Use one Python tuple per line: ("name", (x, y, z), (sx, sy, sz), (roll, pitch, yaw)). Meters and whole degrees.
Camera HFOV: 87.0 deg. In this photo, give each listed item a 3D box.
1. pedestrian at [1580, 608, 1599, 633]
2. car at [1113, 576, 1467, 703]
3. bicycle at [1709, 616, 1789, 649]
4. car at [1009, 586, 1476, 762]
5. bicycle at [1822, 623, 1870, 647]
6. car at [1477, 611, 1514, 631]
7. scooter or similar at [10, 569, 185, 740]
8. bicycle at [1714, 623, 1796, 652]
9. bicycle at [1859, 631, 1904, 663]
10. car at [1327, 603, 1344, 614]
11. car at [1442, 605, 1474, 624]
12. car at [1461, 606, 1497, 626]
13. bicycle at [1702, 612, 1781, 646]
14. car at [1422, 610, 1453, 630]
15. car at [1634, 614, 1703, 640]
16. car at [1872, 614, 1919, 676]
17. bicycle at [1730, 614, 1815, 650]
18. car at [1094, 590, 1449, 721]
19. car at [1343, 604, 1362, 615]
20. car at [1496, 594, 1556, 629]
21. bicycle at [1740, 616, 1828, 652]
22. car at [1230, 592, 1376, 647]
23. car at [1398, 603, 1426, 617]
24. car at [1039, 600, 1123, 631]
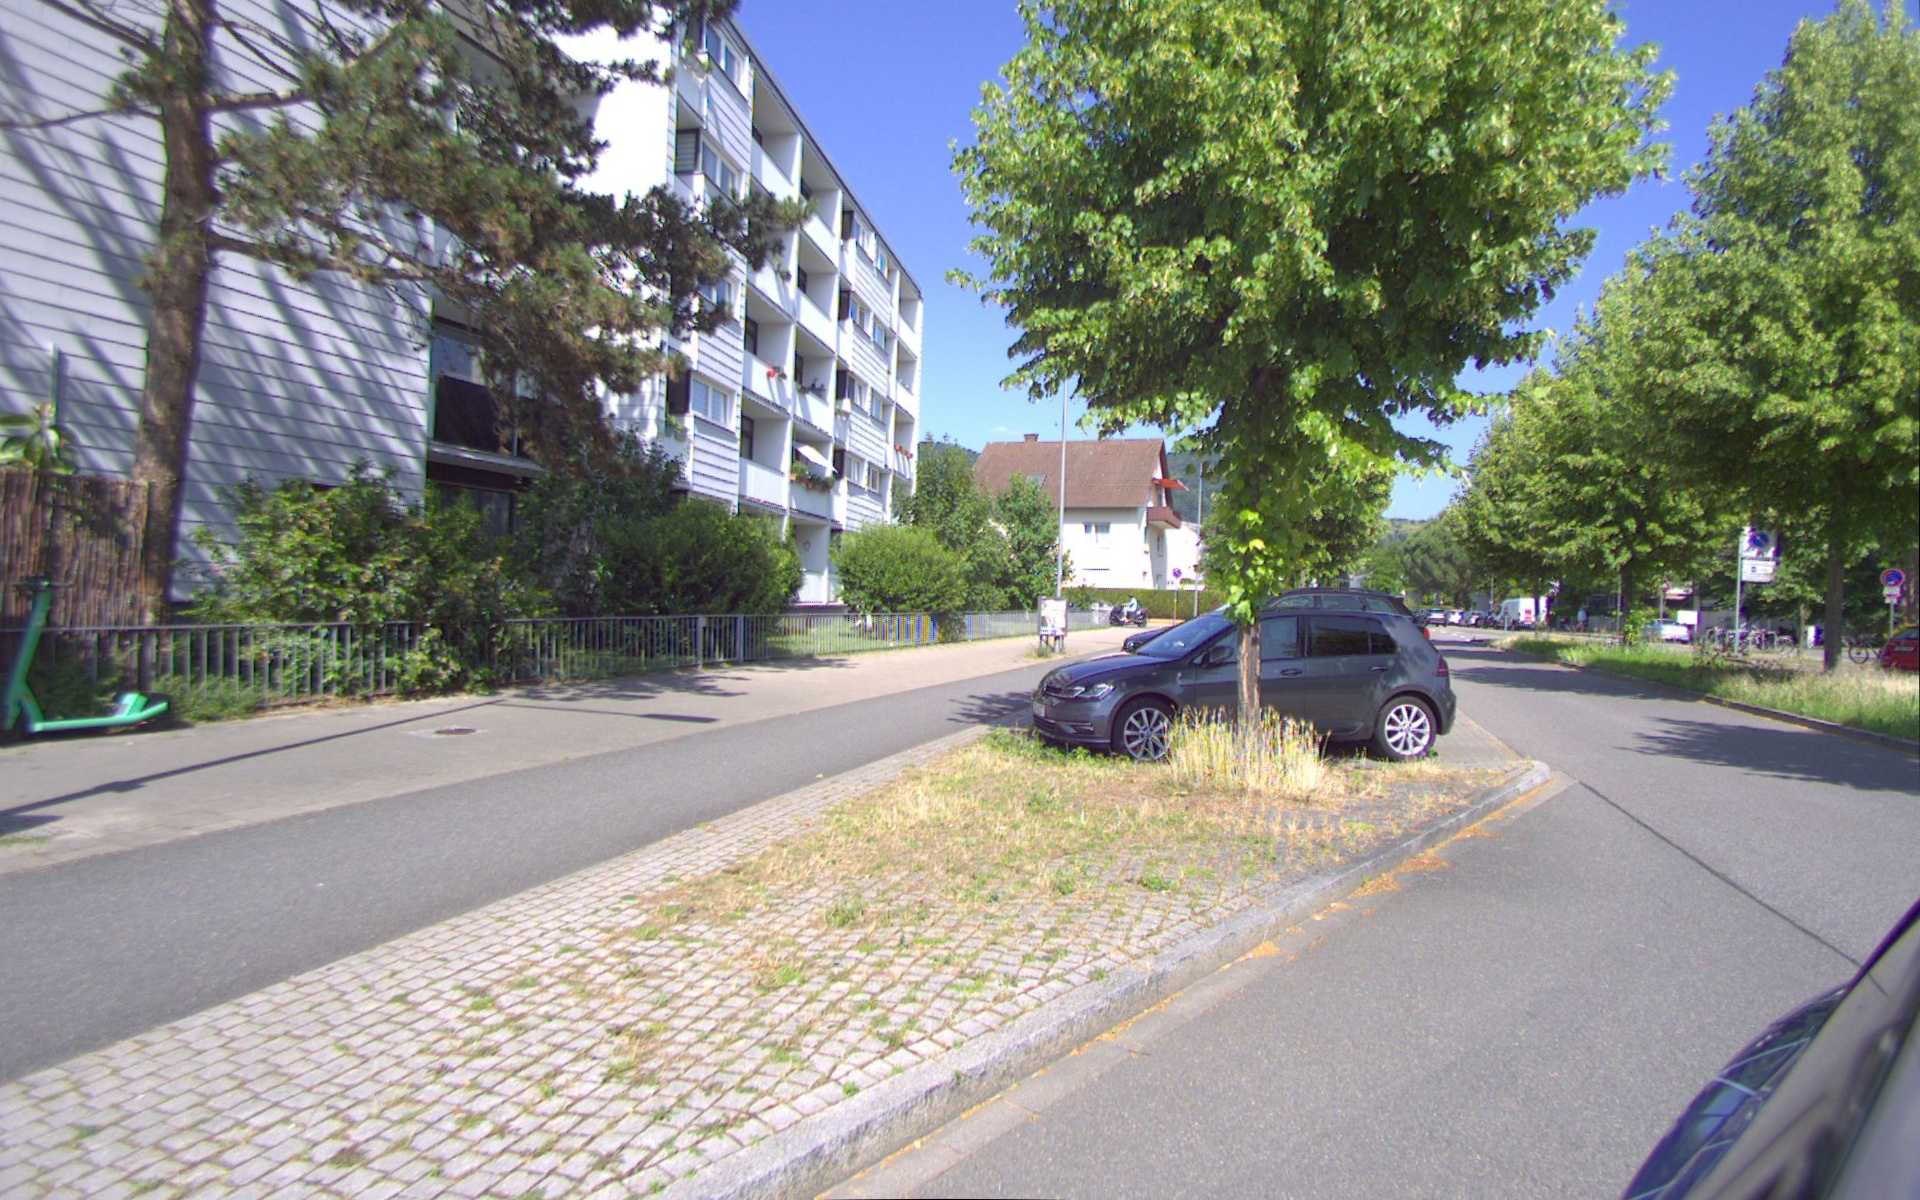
("pedestrian", (46.530, 1.519, 74.812), (0.963, 1.802, 0.721), (2, 0, 17))
("car", (4.816, 0.570, 15.030), (4.648, 1.681, 1.756), (2, 0, -9))
("bicycle", (33.366, 1.356, 42.818), (2.520, 1.255, 0.735), (3, 0, 19))
("car", (2.699, 0.690, 10.222), (4.033, 1.549, 2.003), (1, 0, -9))
("bicycle", (42.725, 1.671, 48.816), (0.370, 1.094, 1.718), (2, -1, -28))
("car", (44.783, 1.750, 84.692), (1.700, 1.578, 3.984), (3, 0, 13))
("scooter or similar", (-6.334, 0.380, 7.470), (0.229, 1.181, 0.948), (1, 0, 28))
("bicycle", (32.741, 1.535, 41.714), (2.520, 1.000, 0.735), (3, 0, 19))
("bicycle", (29.880, 1.512, 32.826), (0.515, 0.914, 1.264), (3, 1, 15))
("car", (58.718, 1.371, 158.321), (1.969, 1.638, 3.985), (2, 0, 12))
("car", (46.990, 1.360, 95.571), (1.700, 1.578, 3.984), (3, 0, 13))
("car", (45.832, 1.385, 89.452), (1.700, 1.578, 4.654), (3, 0, 12))
("bicycle", (33.717, 1.241, 43.707), (2.520, 1.272, 0.735), (3, 0, 19))
("car", (41.236, 1.696, 87.533), (1.723, 1.566, 4.052), (3, 1, 16))
("car", (40.102, 1.506, 57.383), (1.700, 1.282, 3.984), (3, 0, 13))
("car", (25.435, 1.219, 24.998), (3.924, 1.485, 2.000), (3, 0, 0))
("bicycle", (32.420, 1.278, 40.439), (2.491, 1.272, 0.735), (3, 0, 19))
("car", (3.878, 0.671, 12.926), (3.918, 1.492, 1.772), (1, 0, -9))
("car", (56.325, 1.342, 145.320), (1.930, 1.571, 3.986), (2, 0, 12))
("car", (43.991, 0.880, 78.867), (2.062, 2.528, 5.936), (3, 0, 9))
("bicycle", (32.107, 1.306, 39.464), (2.520, 1.272, 0.735), (2, 0, 19))
("car", (11.325, 0.623, 33.517), (4.034, 1.660, 2.048), (2, 0, -12))
("car", (49.939, 1.117, 111.796), (1.818, 1.475, 4.179), (3, 0, 11))
("car", (6.475, 0.809, 54.148), (4.080, 1.416, 1.797), (2, -2, 22))
